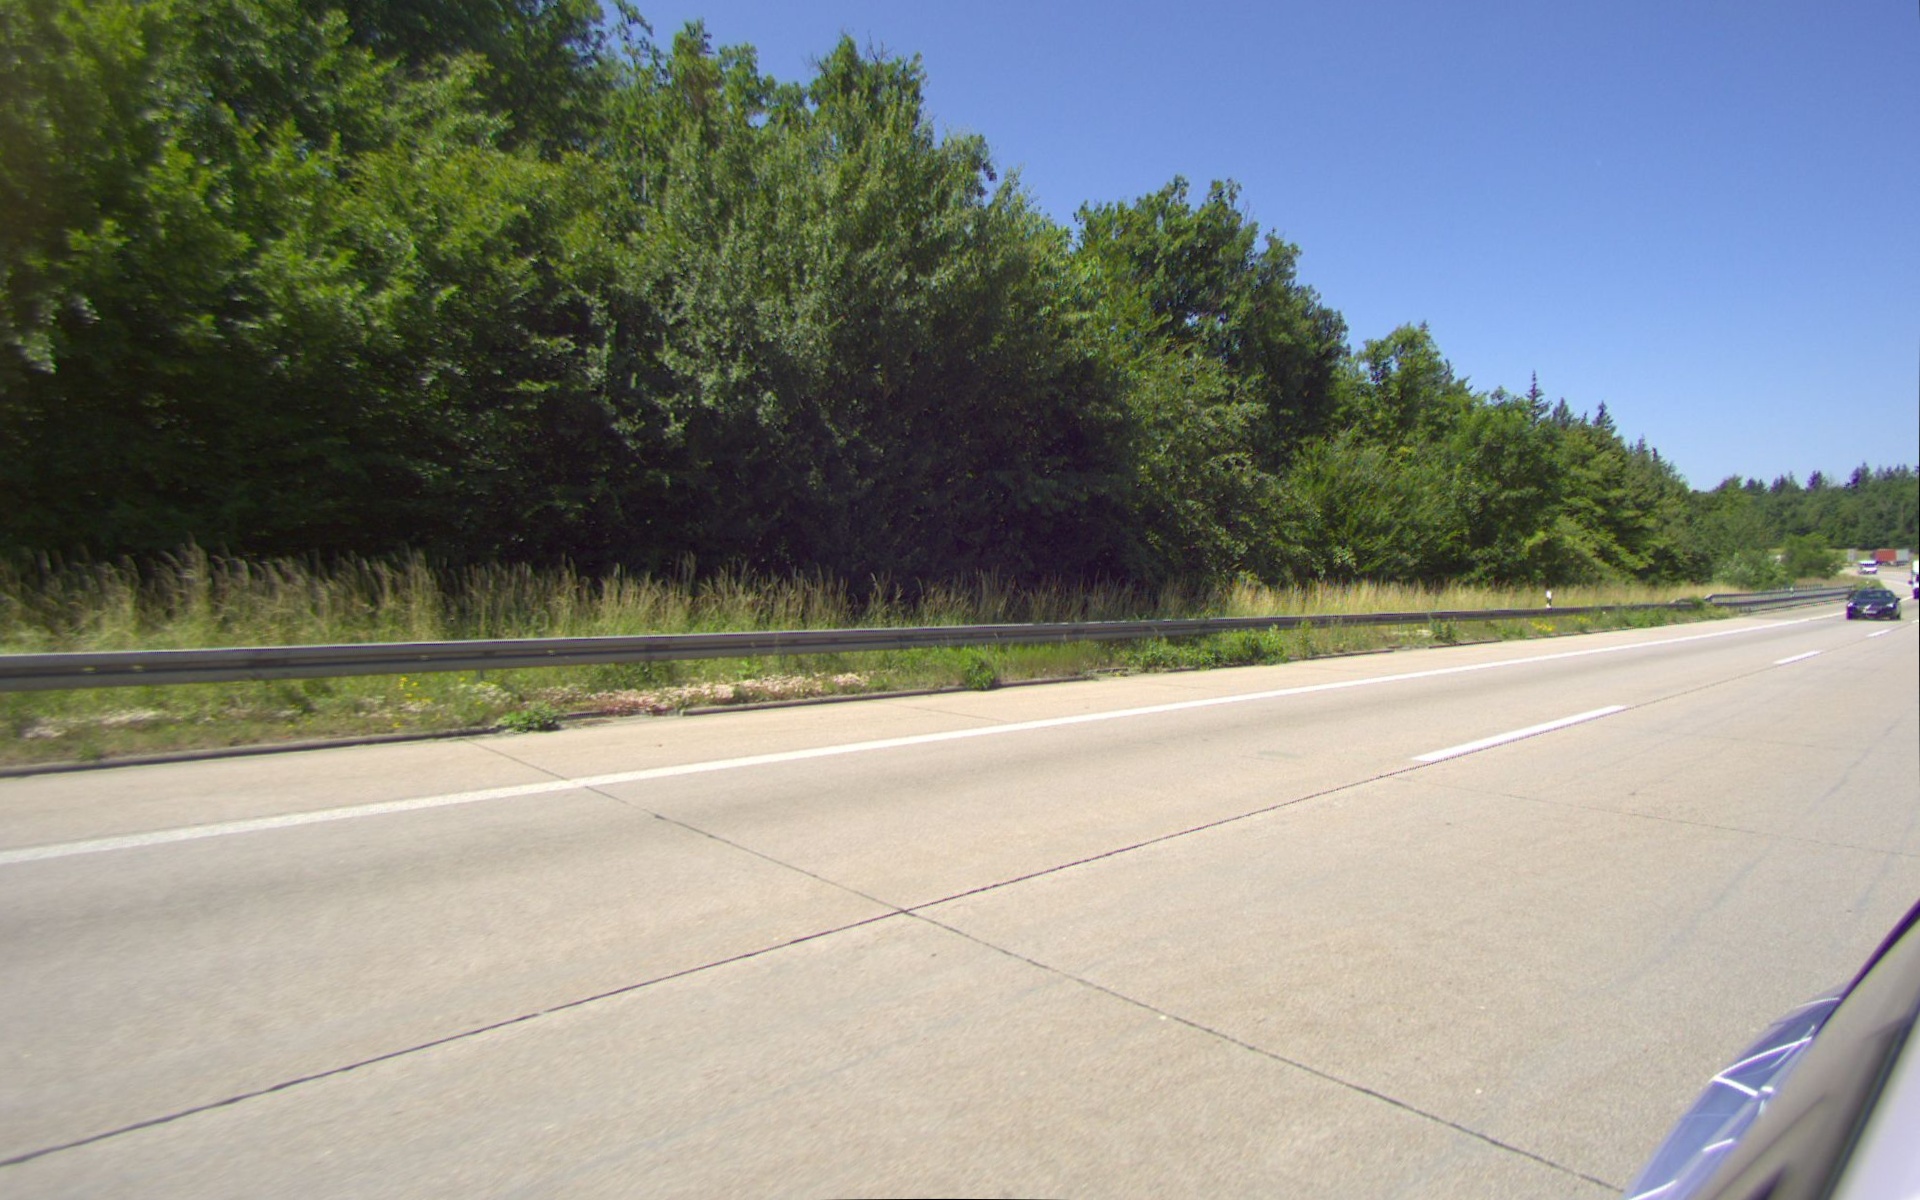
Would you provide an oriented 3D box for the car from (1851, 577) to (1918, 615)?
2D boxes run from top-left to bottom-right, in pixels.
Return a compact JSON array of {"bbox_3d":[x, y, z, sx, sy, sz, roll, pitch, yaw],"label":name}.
[{"bbox_3d":[44.352,-0.222,48.522,4.324,1.725,1.929,-1,1,-41],"label":"car"}]
